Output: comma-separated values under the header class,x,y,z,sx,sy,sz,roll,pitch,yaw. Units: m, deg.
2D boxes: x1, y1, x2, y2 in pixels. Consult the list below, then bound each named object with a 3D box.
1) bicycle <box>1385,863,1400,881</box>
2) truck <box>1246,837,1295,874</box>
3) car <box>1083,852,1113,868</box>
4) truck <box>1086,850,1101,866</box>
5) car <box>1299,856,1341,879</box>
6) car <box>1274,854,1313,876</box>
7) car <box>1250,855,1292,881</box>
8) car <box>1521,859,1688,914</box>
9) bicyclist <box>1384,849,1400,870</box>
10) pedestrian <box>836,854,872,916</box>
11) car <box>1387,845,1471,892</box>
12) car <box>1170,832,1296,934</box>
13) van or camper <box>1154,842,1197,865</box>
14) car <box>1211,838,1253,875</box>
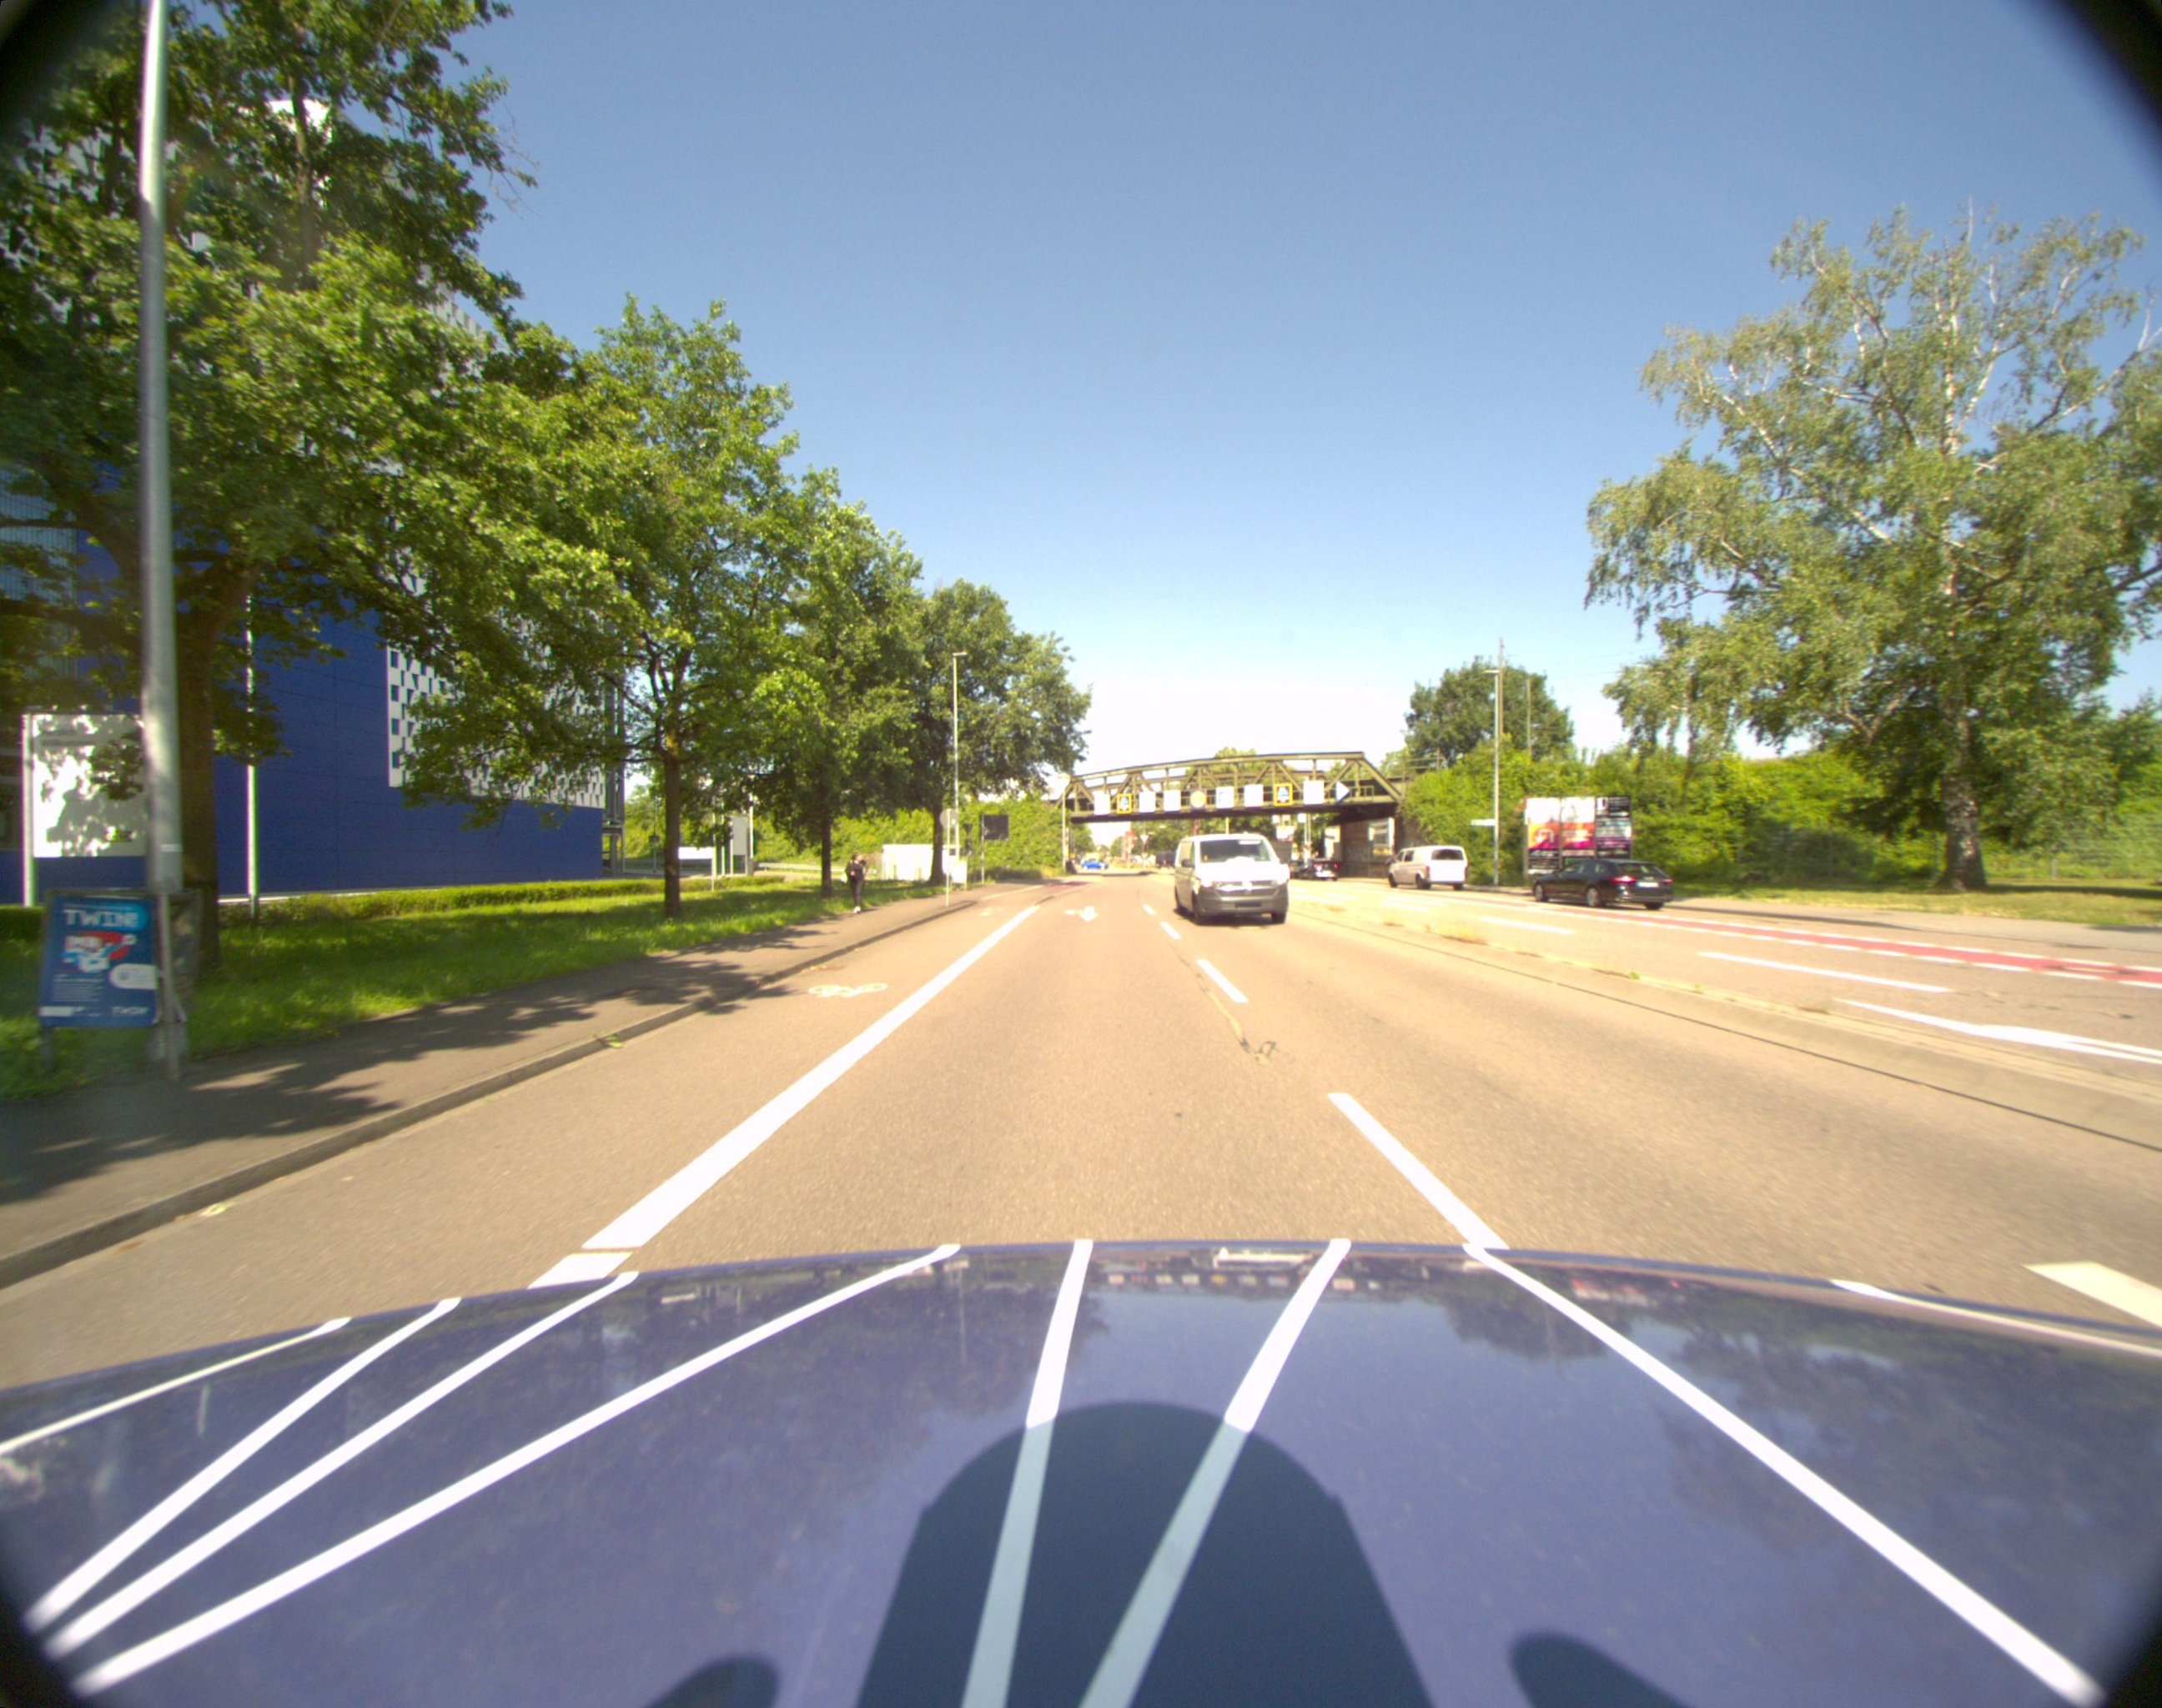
class,x,y,z,sx,sy,sz,roll,pitch,yaw
bicycle,18.718,1.073,45.686,0.447,1.021,1.616,0,0,6
truck,16.528,0.144,66.788,2.347,3.070,7.068,-1,0,-2
car,2.430,0.900,107.860,3.996,2.001,2.212,-3,-1,4
truck,2.461,0.845,151.032,2.410,2.845,5.803,-3,-1,-4
car,16.544,0.924,52.791,1.773,1.485,4.179,1,-1,2
car,16.747,0.862,60.014,1.989,1.679,4.289,1,-1,2
car,11.426,0.865,45.911,1.647,1.485,3.829,1,-1,1
car,15.278,0.881,22.549,1.998,1.405,4.682,0,0,5
bicyclist,18.670,0.323,45.642,0.635,1.220,0.951,0,0,6
pedestrian,-5.906,0.795,19.821,0.648,1.594,0.847,0,1,3
car,16.138,0.632,35.615,1.997,2.002,5.349,0,0,6
car,3.274,0.576,17.354,1.886,1.982,4.974,-1,0,0
van or camper,13.988,-0.021,112.382,5.779,3.136,2.600,-3,-1,-3
car,12.087,0.209,61.384,1.998,2.788,6.937,1,0,0
